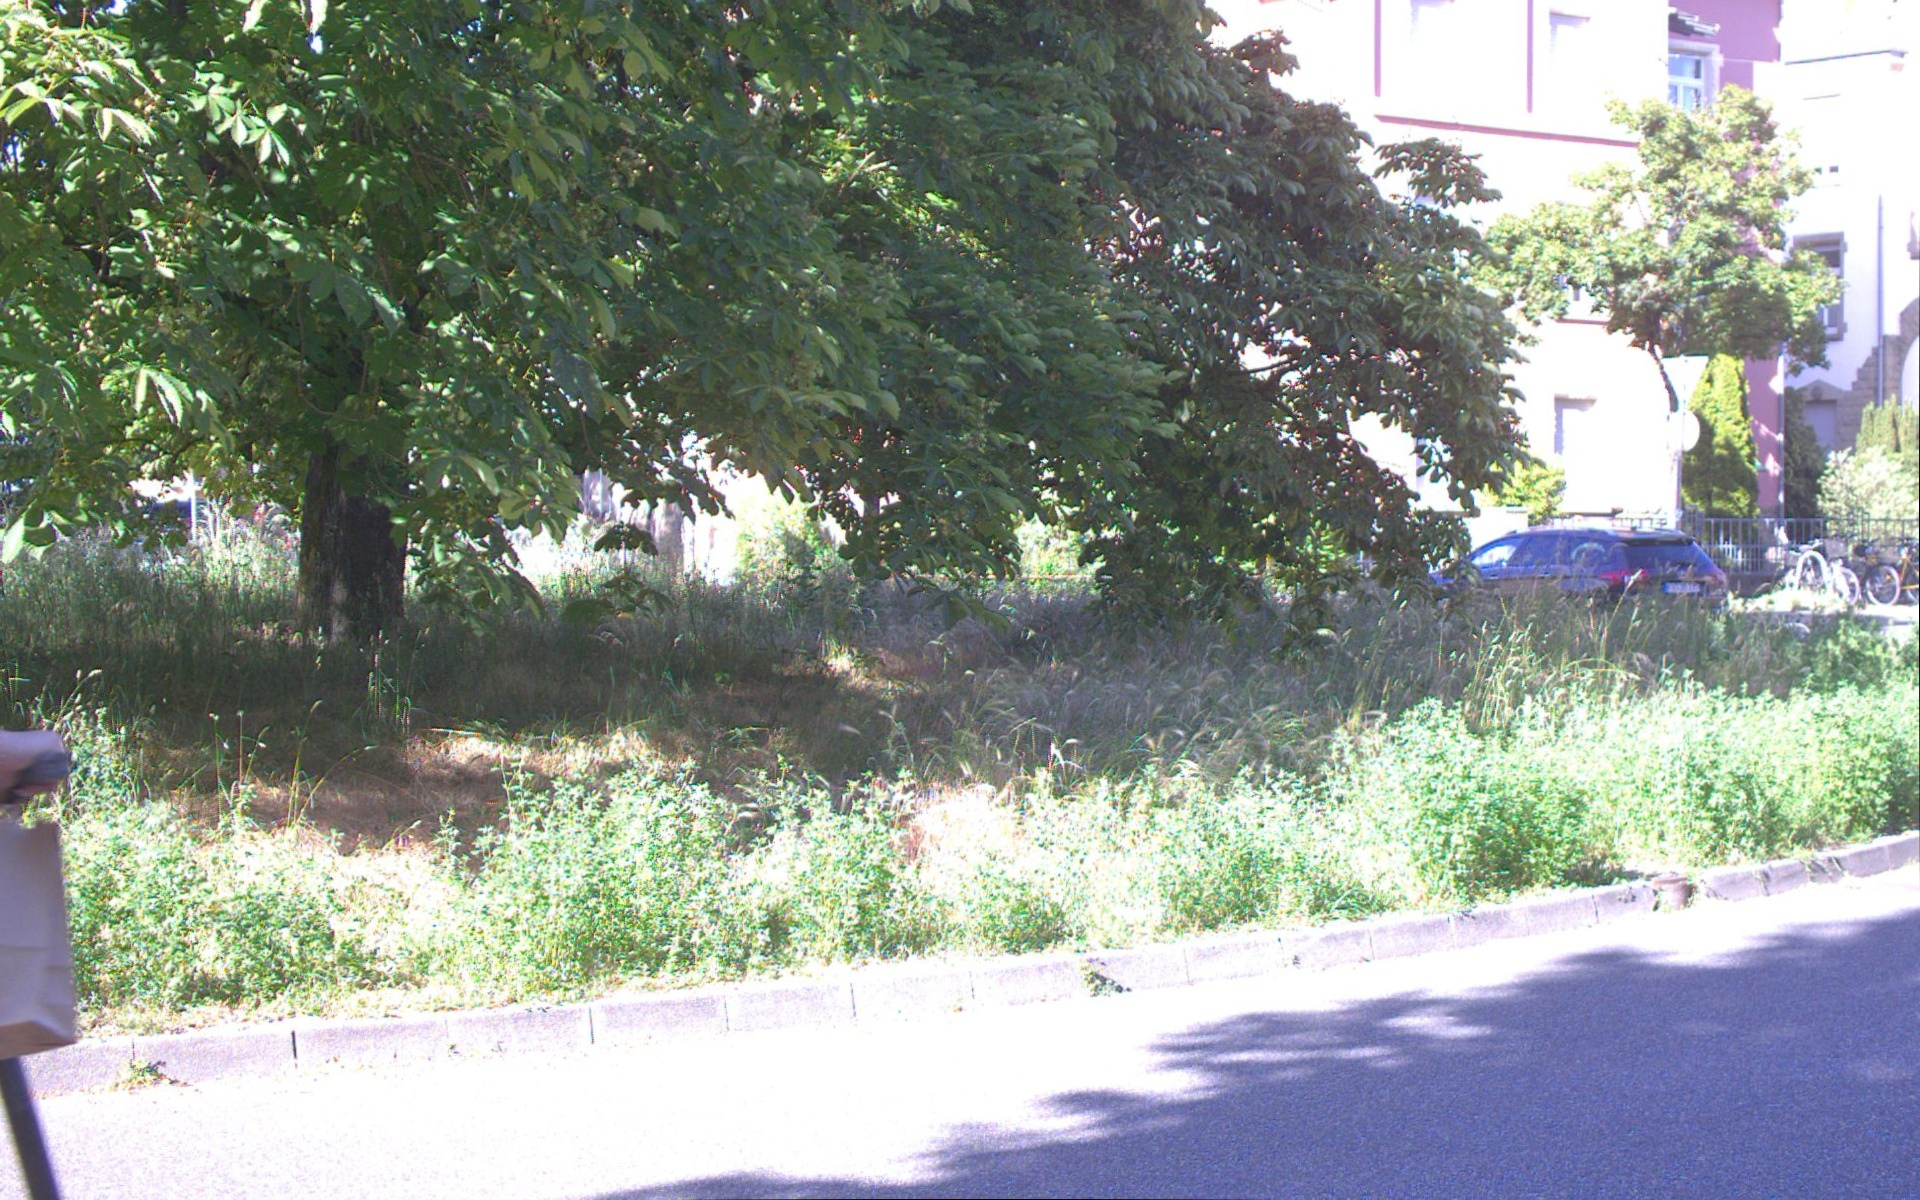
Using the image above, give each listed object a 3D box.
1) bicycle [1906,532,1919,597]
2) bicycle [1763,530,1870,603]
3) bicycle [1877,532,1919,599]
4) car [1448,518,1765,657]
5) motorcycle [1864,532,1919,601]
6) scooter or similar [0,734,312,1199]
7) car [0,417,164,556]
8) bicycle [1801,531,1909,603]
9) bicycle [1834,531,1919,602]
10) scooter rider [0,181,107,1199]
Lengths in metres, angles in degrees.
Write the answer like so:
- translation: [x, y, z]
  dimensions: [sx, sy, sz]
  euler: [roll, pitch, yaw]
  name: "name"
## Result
- translation: [17.000, -0.578, 58.519]
  dimensions: [0.499, 1.103, 1.726]
  euler: [-1, 4, -40]
  name: "bicycle"
- translation: [13.992, -0.557, 56.212]
  dimensions: [0.544, 1.111, 1.727]
  euler: [-1, 3, -36]
  name: "bicycle"
- translation: [16.391, -0.572, 58.029]
  dimensions: [0.499, 1.103, 1.726]
  euler: [-2, 4, -43]
  name: "bicycle"
- translation: [7.463, -0.191, 40.065]
  dimensions: [1.822, 1.527, 4.001]
  euler: [-1, 1, -20]
  name: "car"
- translation: [16.049, -0.553, 57.581]
  dimensions: [0.499, 1.103, 1.726]
  euler: [-2, 4, -43]
  name: "motorcycle"
- translation: [-1.388, 0.831, 4.054]
  dimensions: [1.102, 1.278, 0.632]
  euler: [-1, 2, -26]
  name: "scooter or similar"
- translation: [-18.652, -2.240, 67.191]
  dimensions: [6.367, 2.591, 2.100]
  euler: [2, 1, 32]
  name: "car"
- translation: [14.767, -0.551, 56.749]
  dimensions: [0.544, 1.111, 1.727]
  euler: [-1, 3, -36]
  name: "bicycle"
- translation: [15.520, -0.560, 57.185]
  dimensions: [1.828, 1.103, 0.500]
  euler: [3, 4, 38]
  name: "bicycle"
- translation: [-1.385, 0.441, 4.039]
  dimensions: [0.629, 1.825, 0.625]
  euler: [-1, 2, -26]
  name: "scooter rider"
